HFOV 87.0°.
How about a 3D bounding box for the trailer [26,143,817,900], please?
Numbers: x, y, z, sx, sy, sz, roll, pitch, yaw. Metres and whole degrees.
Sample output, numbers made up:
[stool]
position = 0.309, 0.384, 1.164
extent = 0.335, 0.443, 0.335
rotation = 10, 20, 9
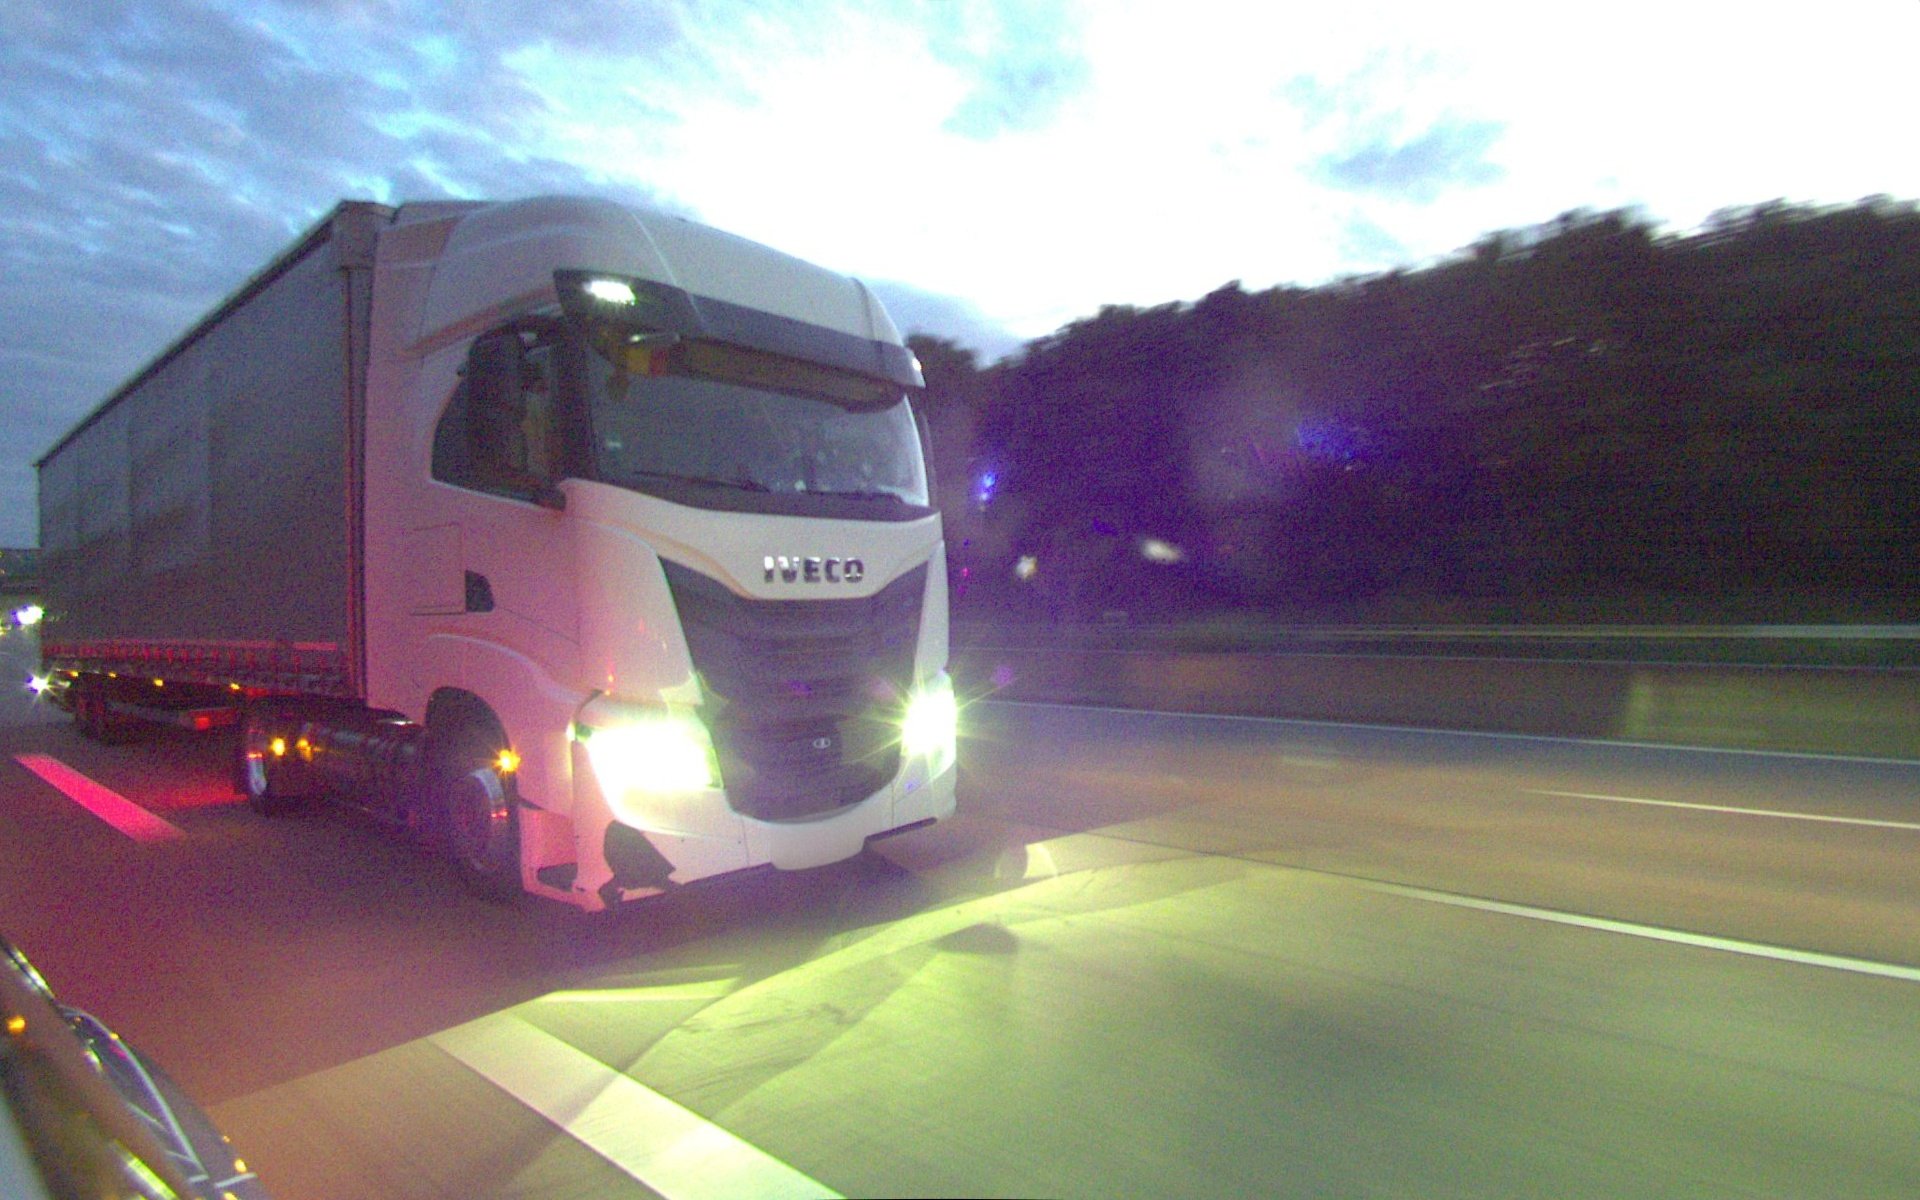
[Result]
[trailer]
position = -7.495, -0.275, 11.222
extent = 14.813, 3.945, 2.745
rotation = -2, -1, 42

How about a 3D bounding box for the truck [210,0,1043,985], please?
[truck]
position = -2.737, -0.410, 7.038
extent = 6.151, 3.931, 2.750
rotation = -2, -1, 41
